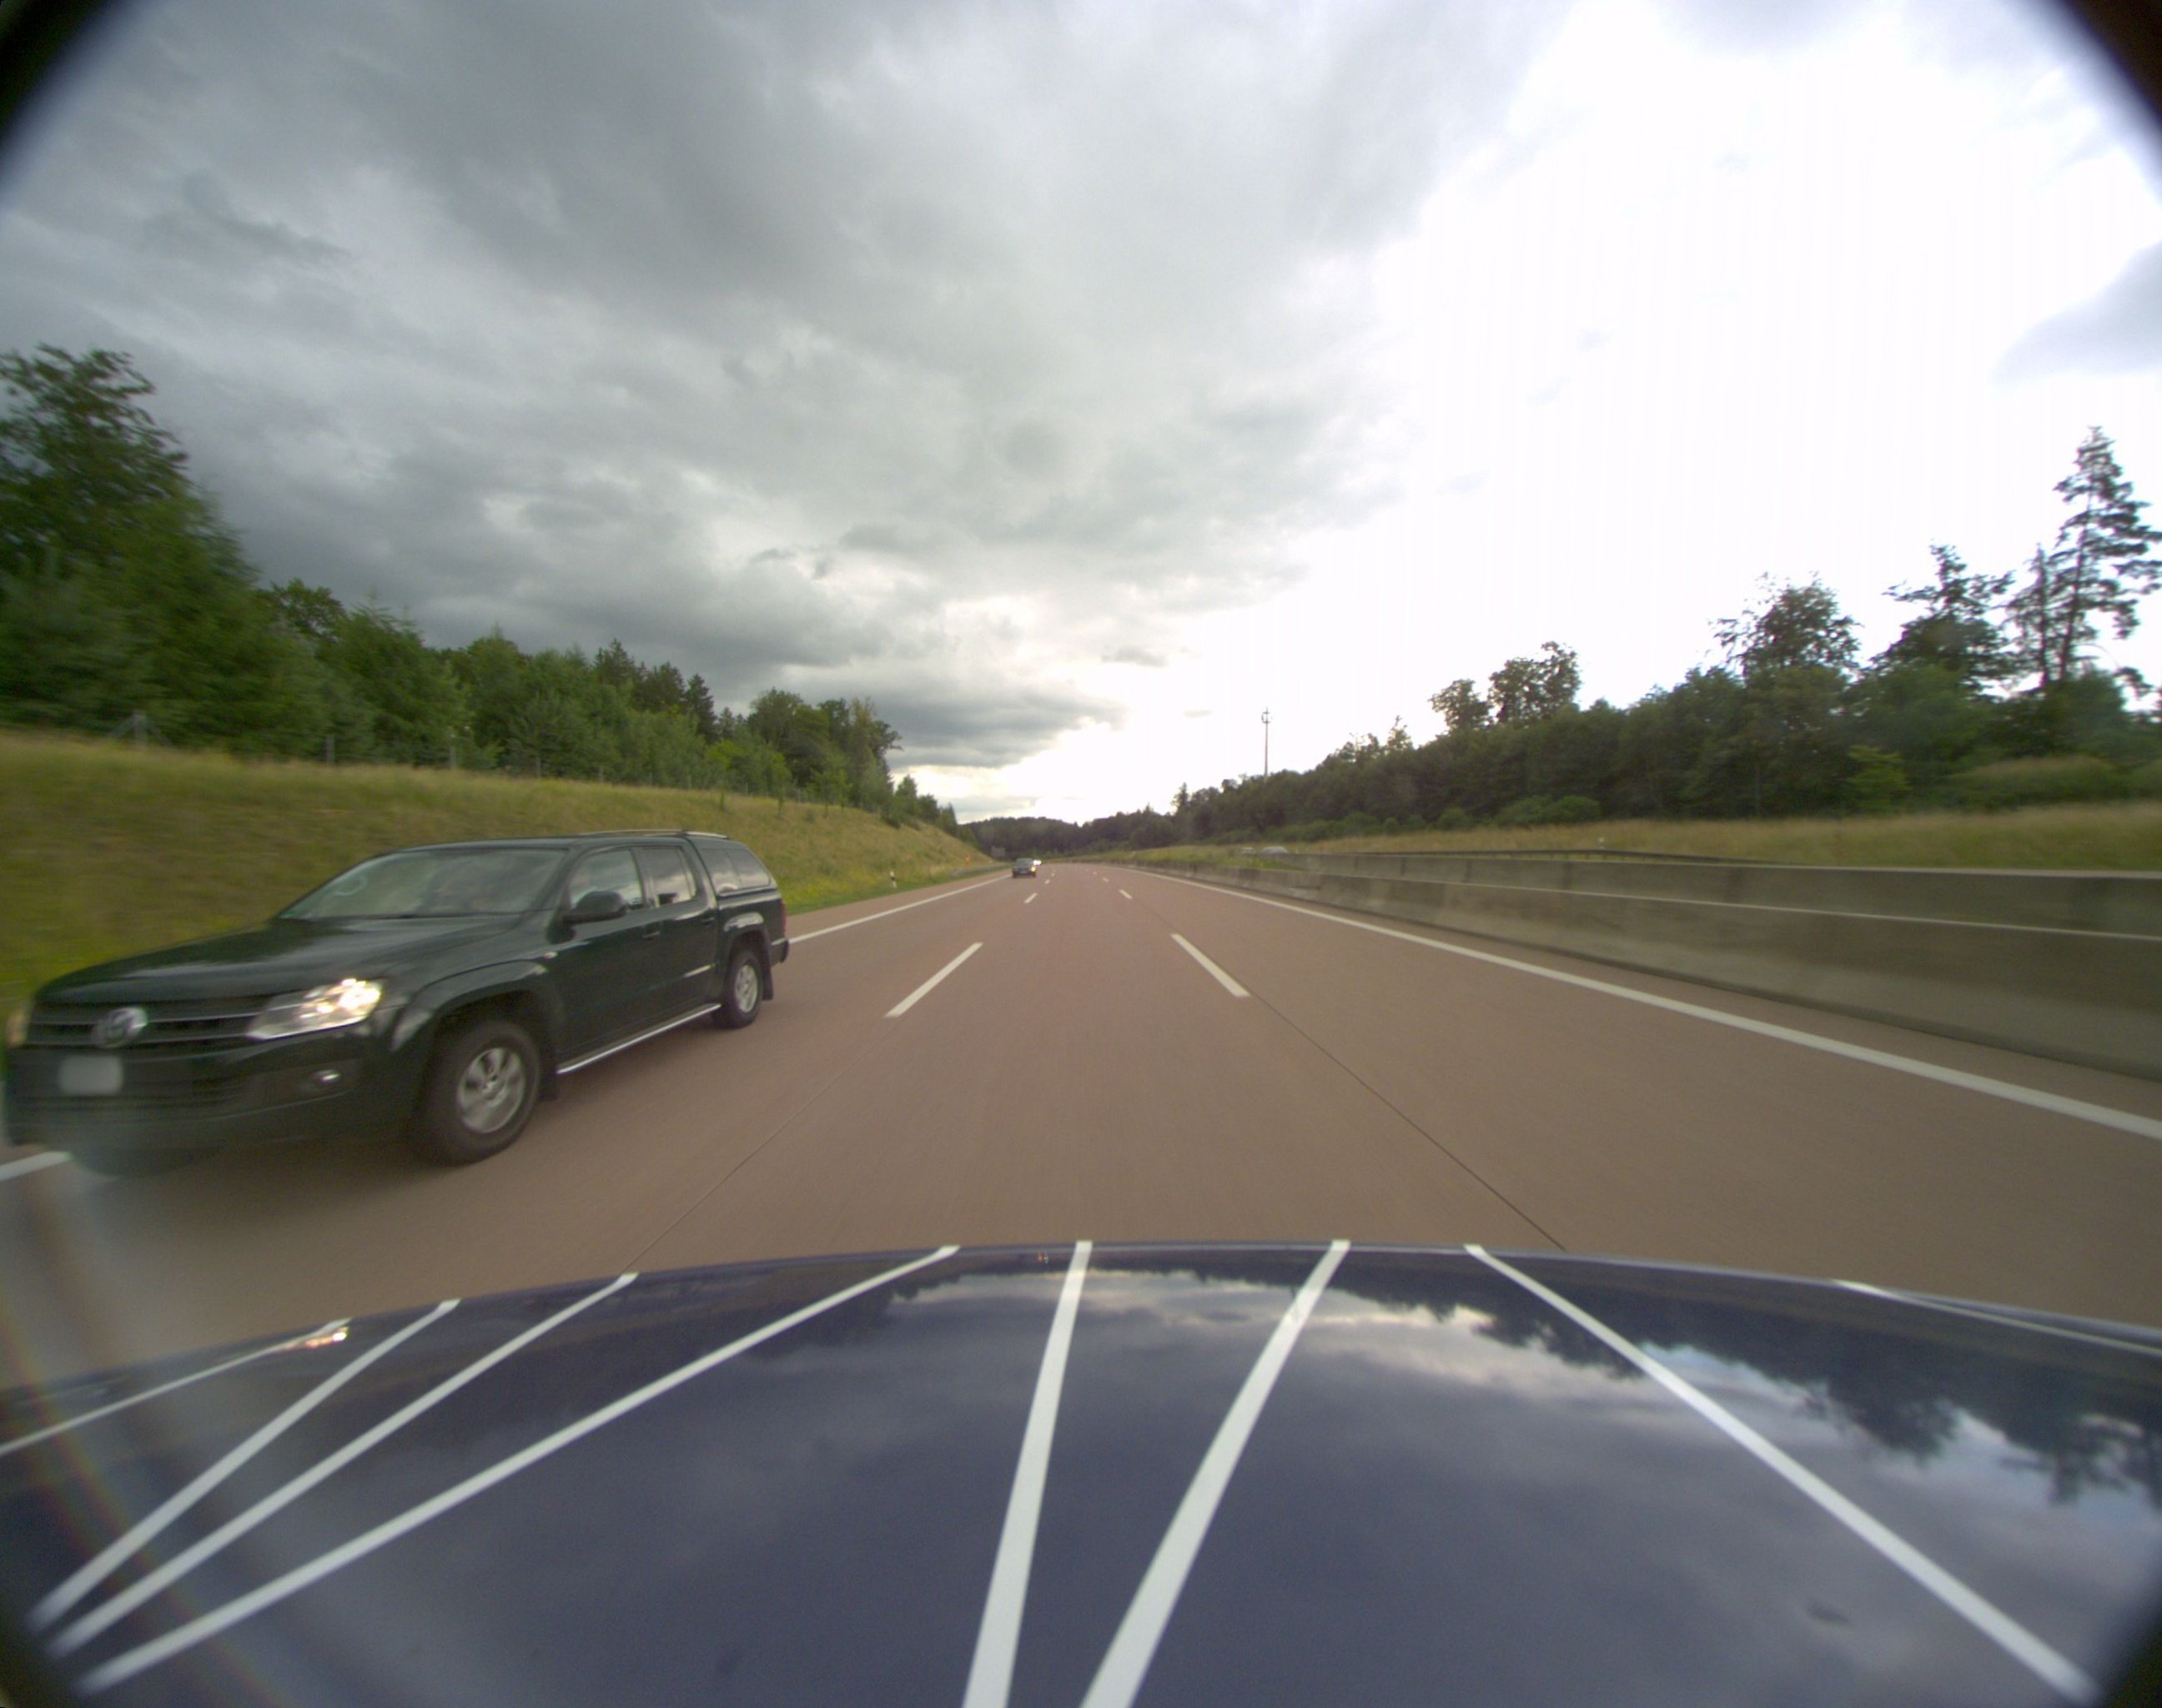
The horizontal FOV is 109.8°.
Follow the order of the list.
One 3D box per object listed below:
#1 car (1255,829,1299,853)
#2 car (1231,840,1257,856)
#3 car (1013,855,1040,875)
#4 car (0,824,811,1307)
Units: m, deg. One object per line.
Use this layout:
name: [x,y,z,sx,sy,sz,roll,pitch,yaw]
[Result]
car: [13.958,-0.943,54.405,1.737,1.516,4.242,-2,2,-4]
car: [16.868,-0.685,78.605,1.737,1.516,4.411,-2,1,1]
car: [-4.128,0.802,58.014,1.676,1.395,4.232,-1,1,0]
car: [-4.157,0.811,5.771,2.049,1.886,5.577,-1,1,1]
